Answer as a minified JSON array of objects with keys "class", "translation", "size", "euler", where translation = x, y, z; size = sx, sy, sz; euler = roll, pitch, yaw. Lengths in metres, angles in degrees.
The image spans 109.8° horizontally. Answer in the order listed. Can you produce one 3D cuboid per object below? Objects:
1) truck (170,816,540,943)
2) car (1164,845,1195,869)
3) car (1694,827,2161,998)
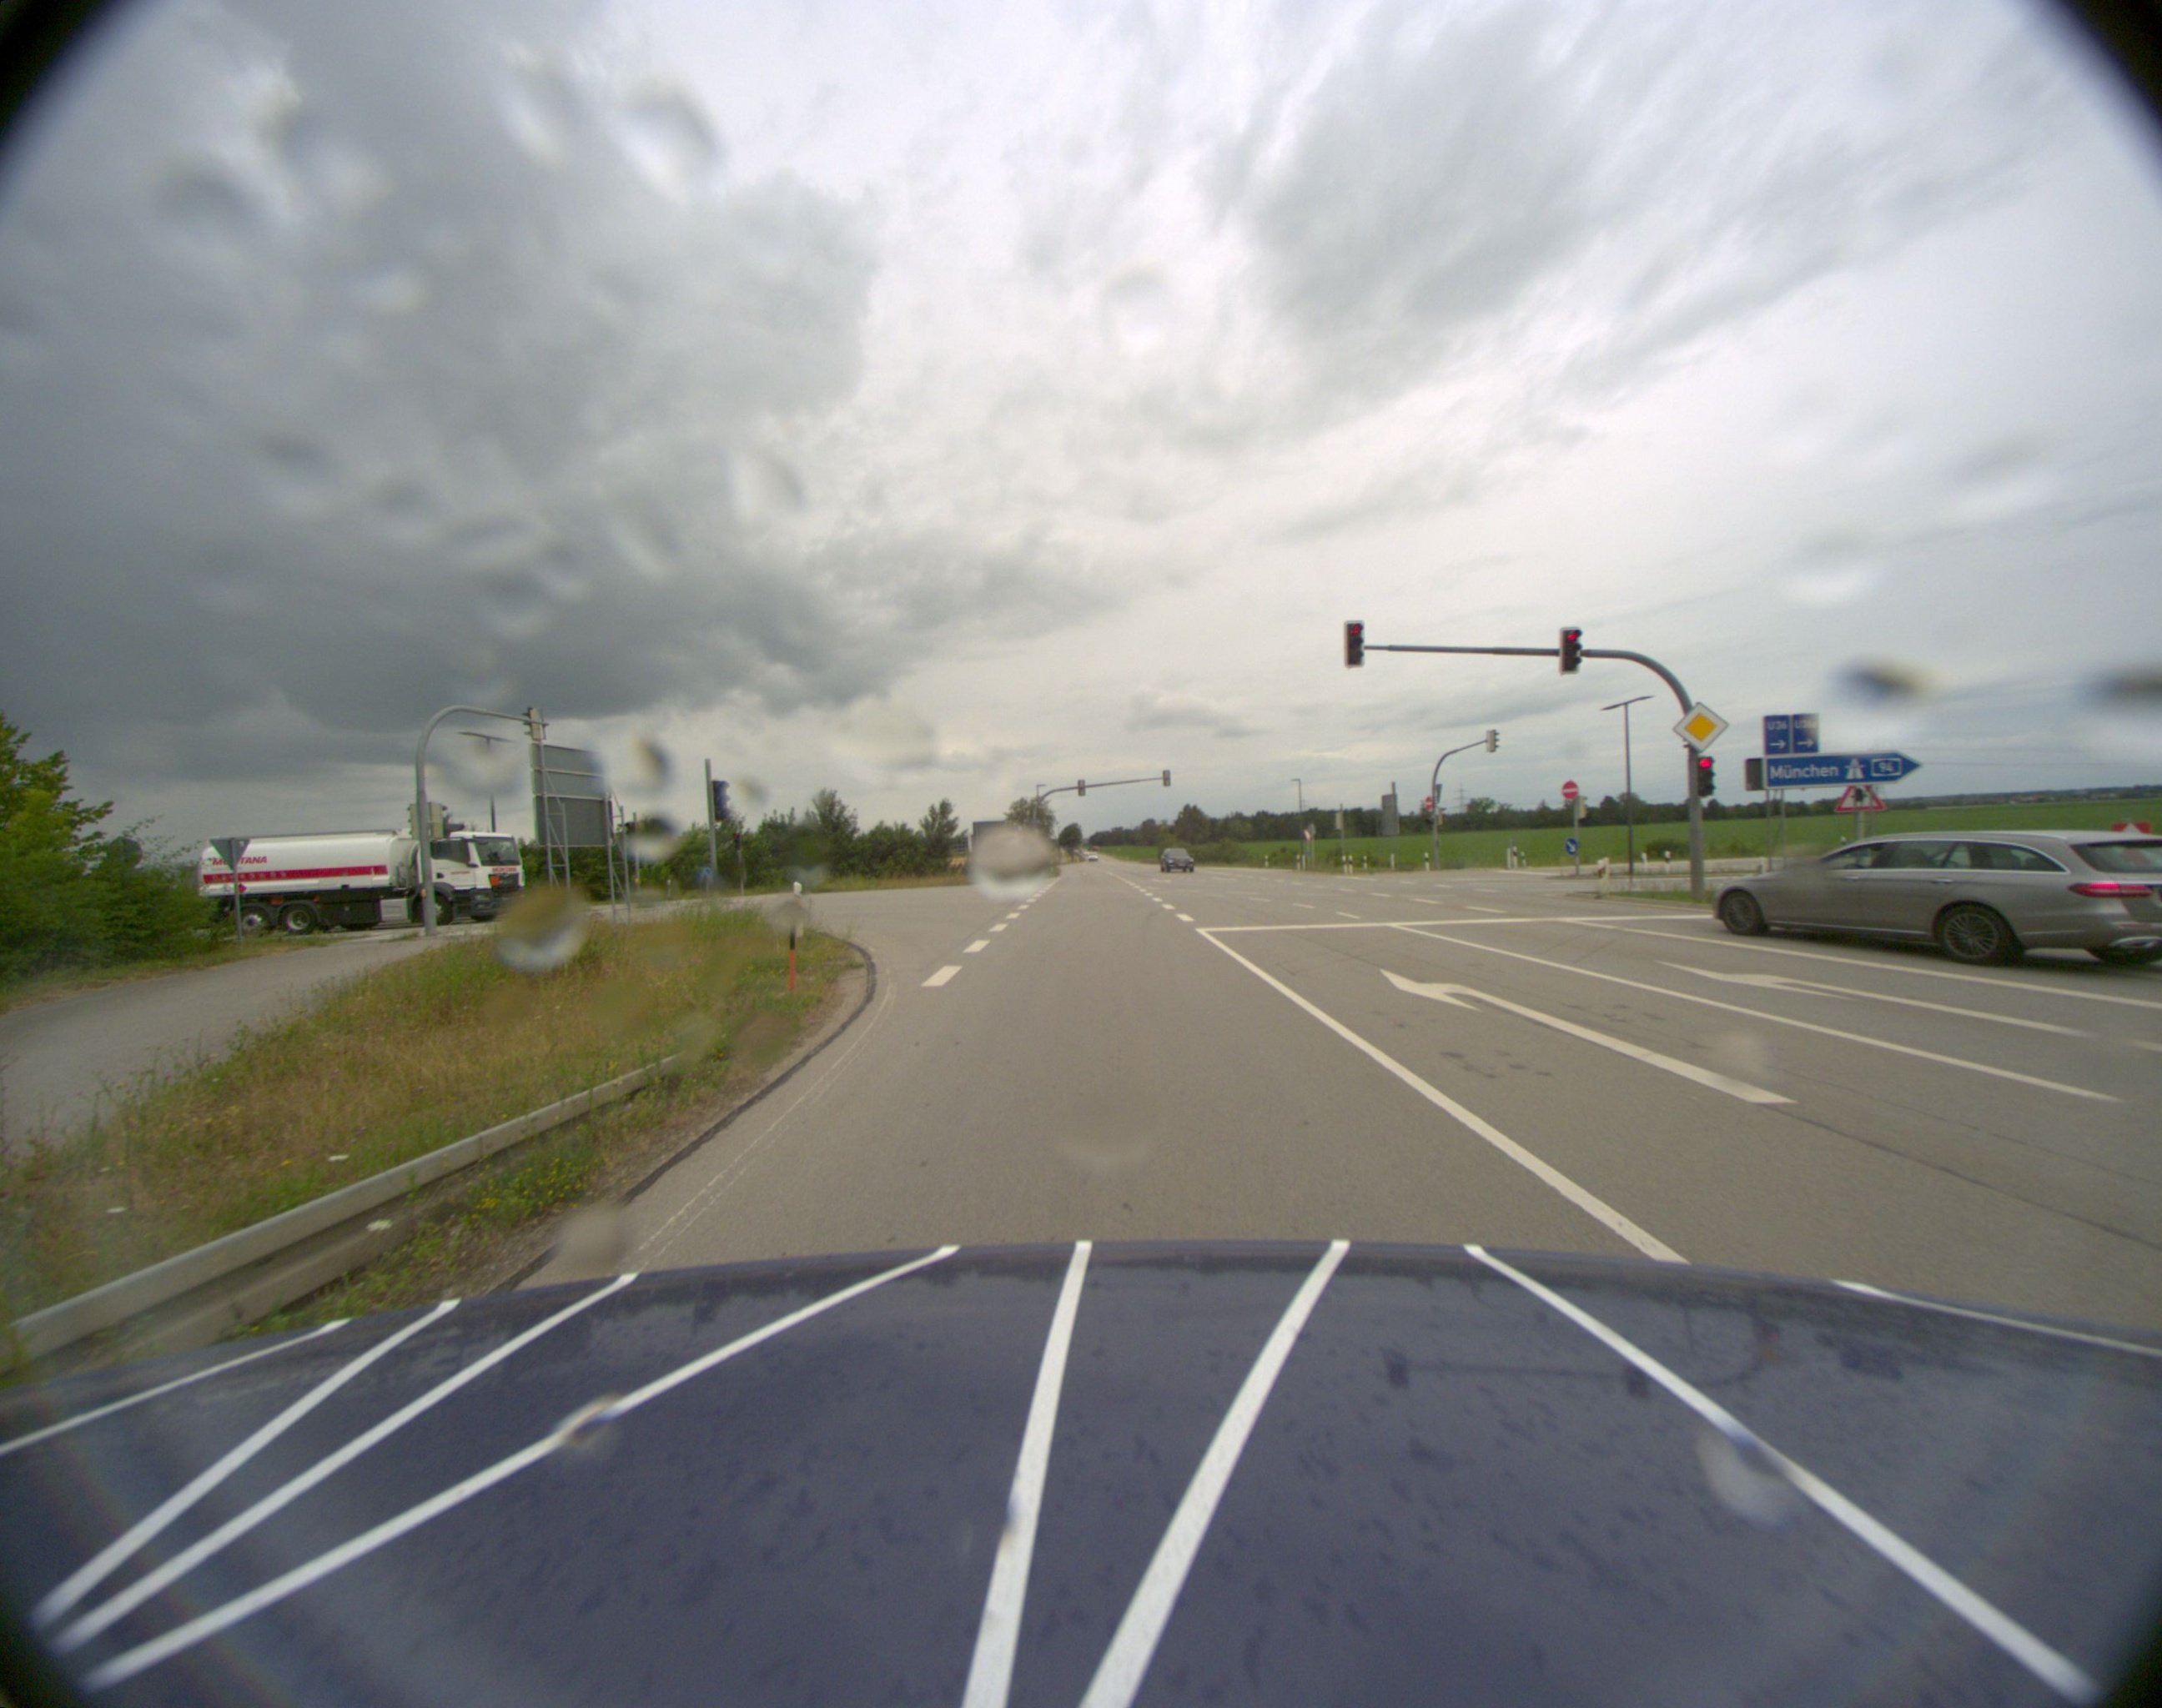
[{"class":"truck","translation":[-23.247,0.722,24.781],"size":[8.646,3.389,2.877],"euler":[-3,2,-4]},{"class":"car","translation":[7.245,0.196,56.334],"size":[1.998,1.674,5.000],"euler":[-2,1,5]},{"class":"car","translation":[10.692,0.521,9.574],"size":[1.919,1.601,4.948],"euler":[-1,1,0]}]
